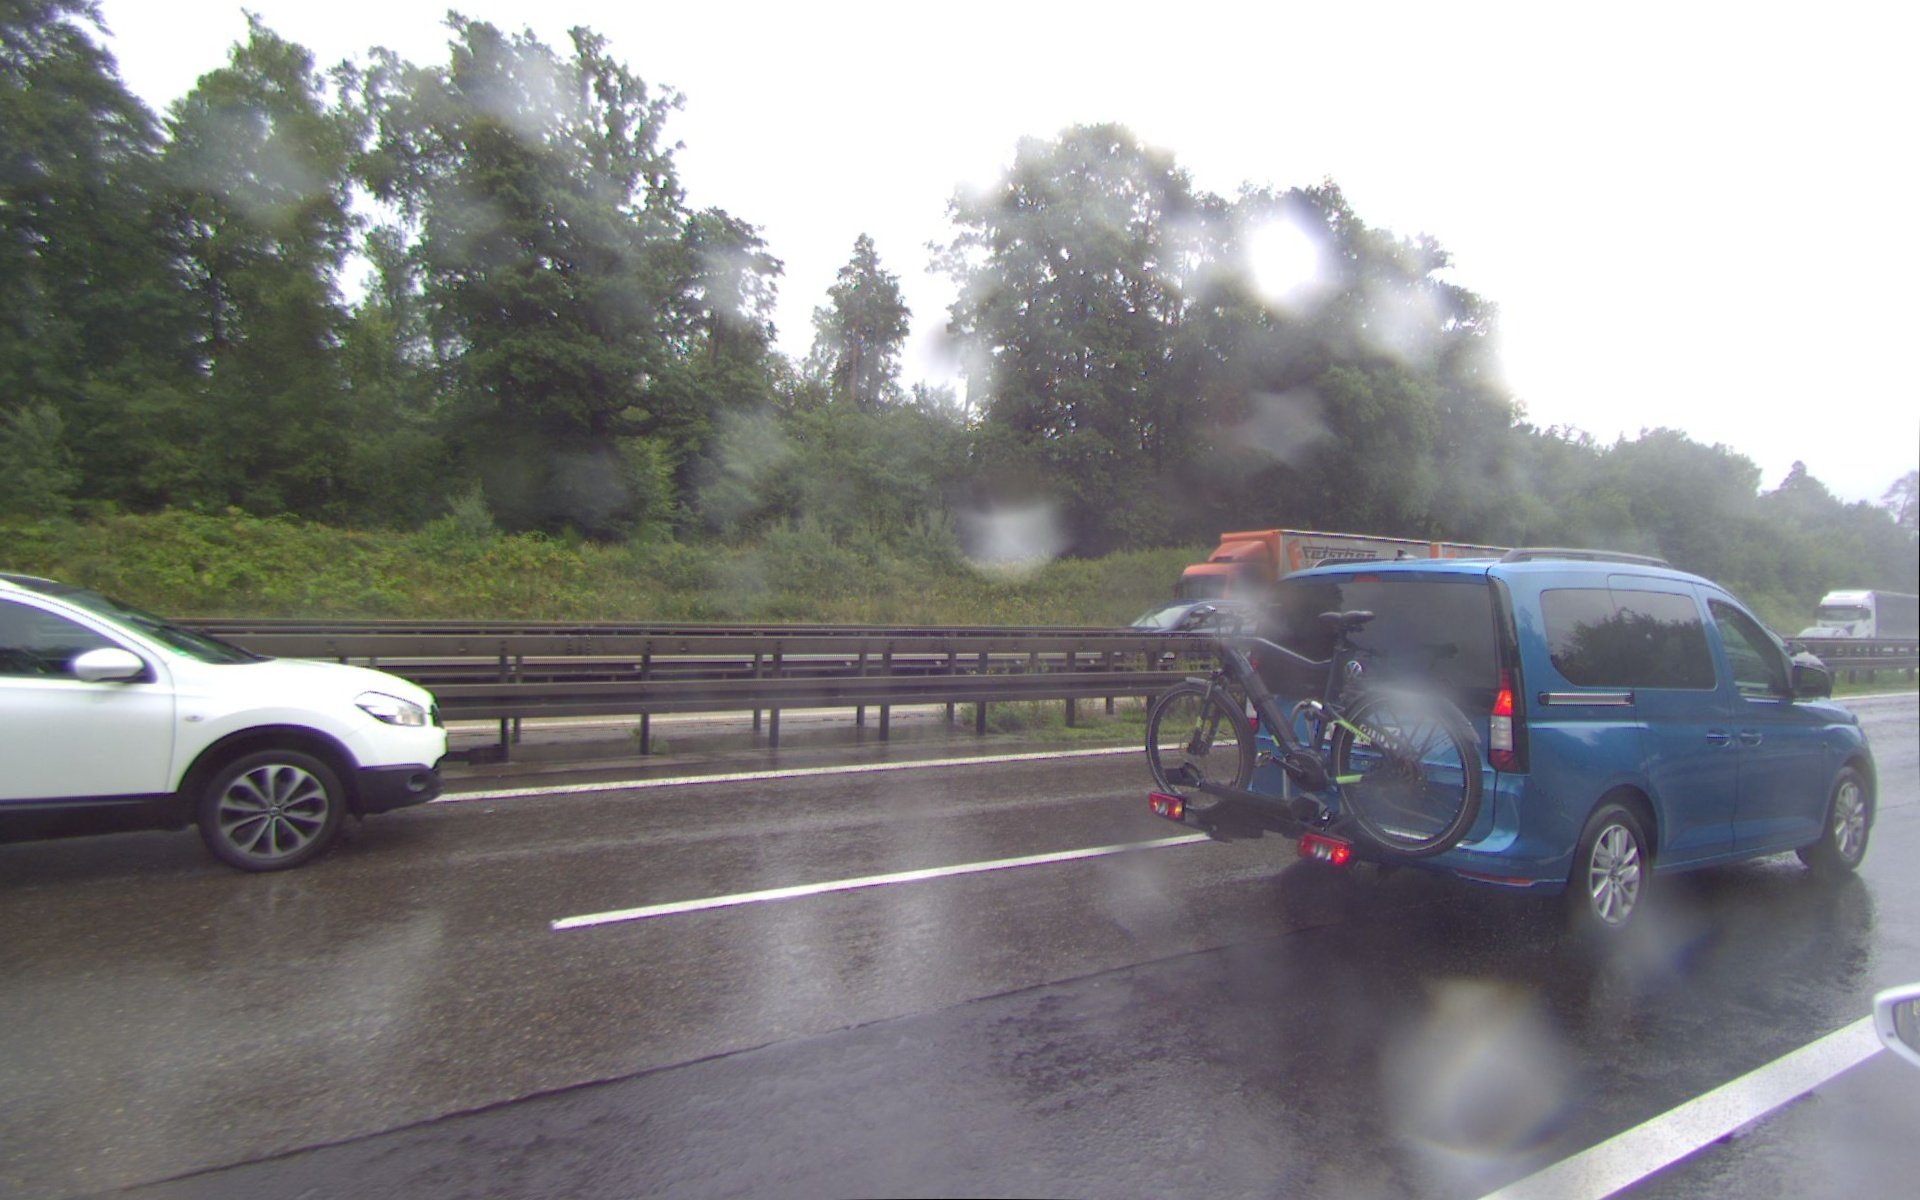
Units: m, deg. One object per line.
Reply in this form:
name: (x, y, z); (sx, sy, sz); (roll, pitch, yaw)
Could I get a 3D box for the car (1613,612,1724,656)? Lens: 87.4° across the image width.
car: (26.290, 1.251, 37.250); (4.282, 1.517, 1.826); (1, 0, -31)

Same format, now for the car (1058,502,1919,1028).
car: (3.268, 0.644, 5.885); (4.953, 1.937, 2.260); (1, 0, -28)

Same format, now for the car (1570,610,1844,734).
car: (11.377, 1.000, 15.229); (4.416, 1.613, 1.836); (1, 0, -32)

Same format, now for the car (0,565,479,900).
car: (-5.196, 0.630, 5.558); (4.416, 1.613, 1.836); (1, 0, -32)

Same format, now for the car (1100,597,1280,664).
car: (5.683, 0.723, 24.694); (4.283, 1.517, 1.826); (1, 0, -32)

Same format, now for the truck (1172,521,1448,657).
truck: (11.686, -0.225, 33.048); (9.906, 3.984, 2.692); (1, 0, -30)

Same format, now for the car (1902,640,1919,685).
car: (35.358, 2.165, 35.347); (4.702, 1.524, 2.079); (1, -3, -32)

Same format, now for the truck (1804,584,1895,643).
truck: (61.180, 0.933, 69.053); (6.193, 3.869, 3.005); (1, 0, -31)

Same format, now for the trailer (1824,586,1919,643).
trailer: (67.041, 1.093, 72.716); (13.410, 3.869, 3.008); (1, 0, -32)

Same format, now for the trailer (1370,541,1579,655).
trailer: (19.335, 0.012, 37.542); (8.904, 3.869, 2.669); (1, 0, -31)
